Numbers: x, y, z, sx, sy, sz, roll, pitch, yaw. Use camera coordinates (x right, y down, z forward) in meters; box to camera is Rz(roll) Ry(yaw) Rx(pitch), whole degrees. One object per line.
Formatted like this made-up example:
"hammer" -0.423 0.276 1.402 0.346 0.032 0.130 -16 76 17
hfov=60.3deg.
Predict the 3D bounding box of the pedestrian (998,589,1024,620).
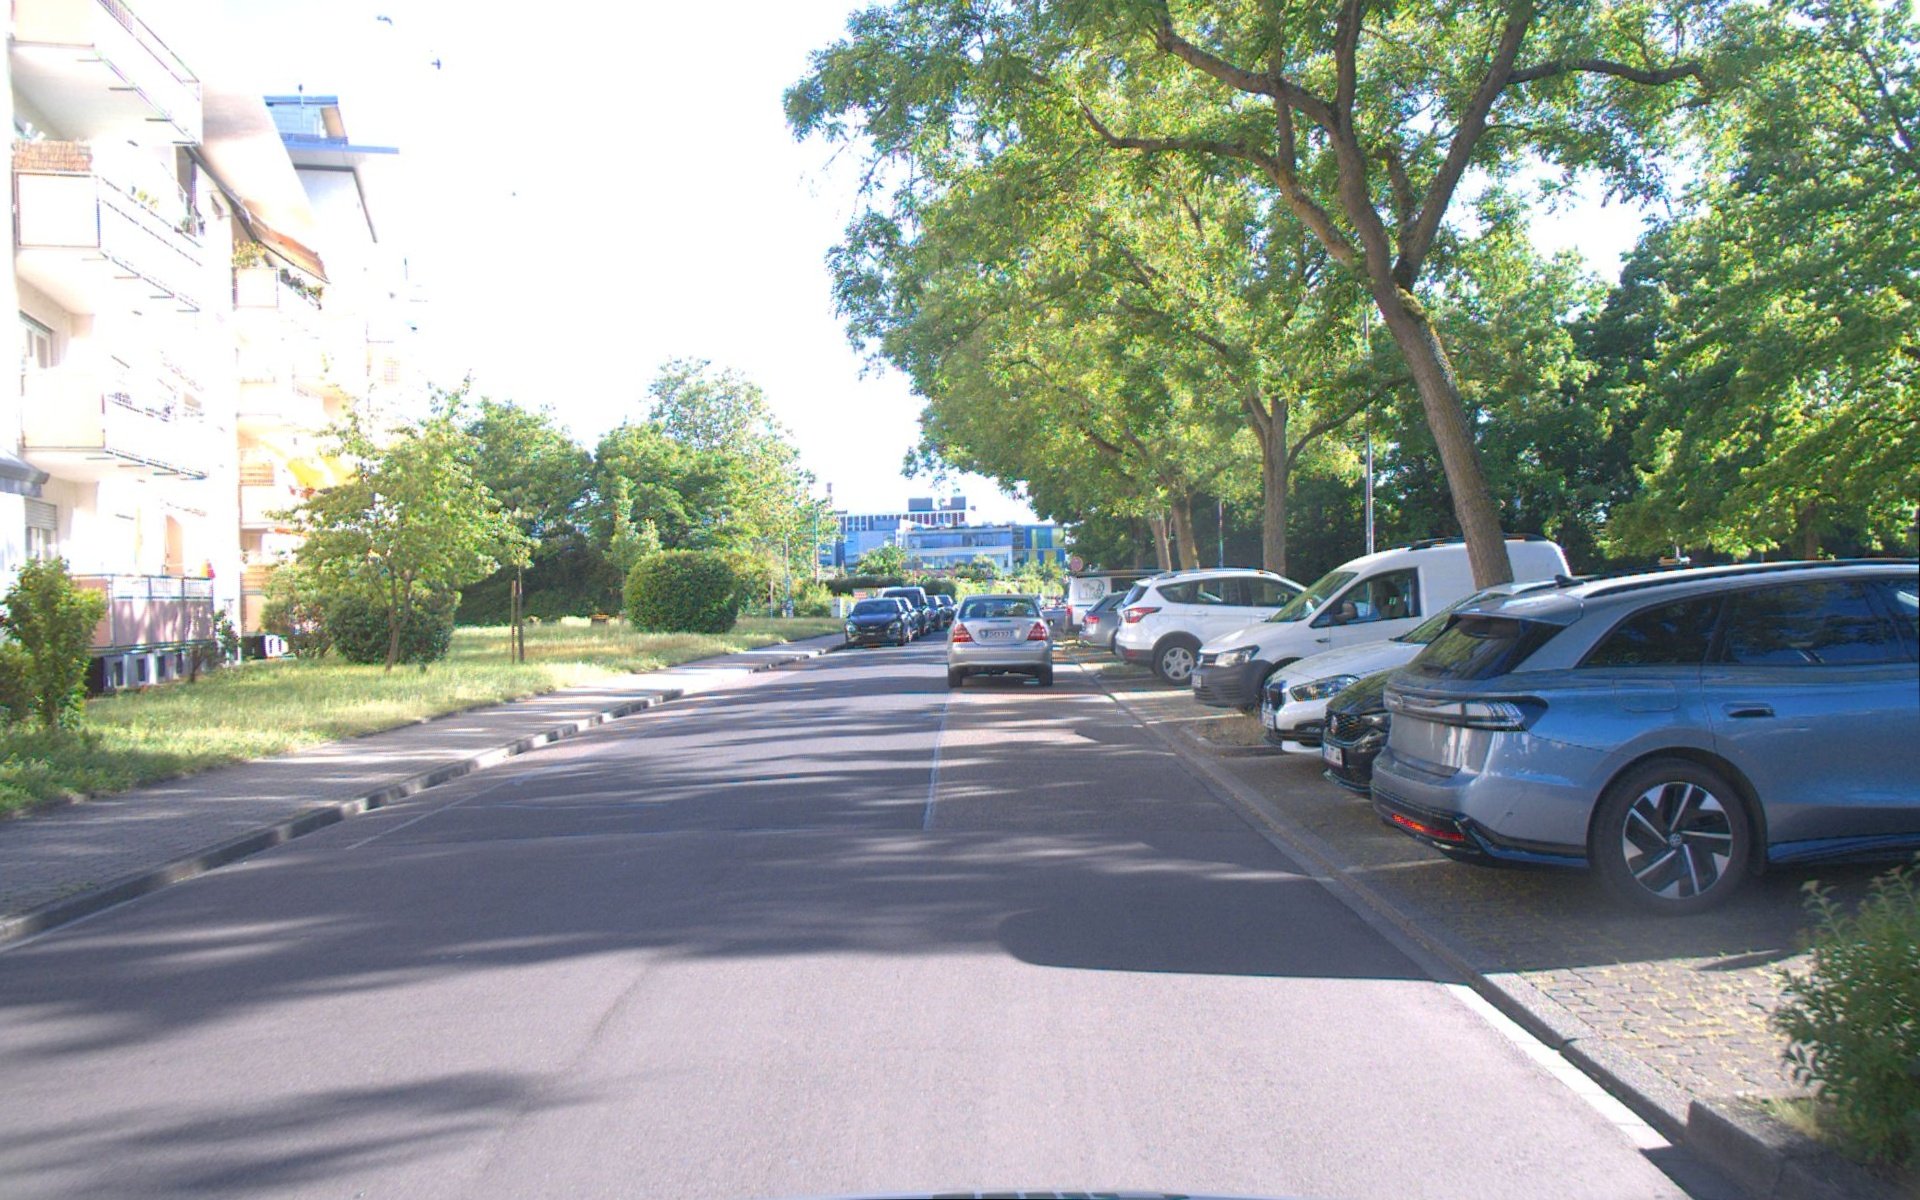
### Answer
"pedestrian" 3.539 0.307 114.740 1.540 2.125 1.725 -1 0 9

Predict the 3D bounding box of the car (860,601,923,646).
"car" -2.319 0.777 56.962 1.714 1.345 3.744 -4 0 3

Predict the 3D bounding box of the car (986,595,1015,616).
"car" 3.103 0.386 126.196 1.853 1.529 3.659 -2 0 7

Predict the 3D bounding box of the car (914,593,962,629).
"car" -0.981 0.483 76.155 1.713 1.547 4.196 -3 0 5

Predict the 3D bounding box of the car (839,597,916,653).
"car" -2.499 0.731 50.971 1.873 1.516 3.839 -4 0 4

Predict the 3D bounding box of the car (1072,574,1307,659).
"car" 4.966 0.348 36.244 4.786 1.656 1.999 -2 0 -2

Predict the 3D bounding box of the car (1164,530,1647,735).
"car" 4.895 0.325 18.557 4.791 1.957 1.997 -2 0 -6

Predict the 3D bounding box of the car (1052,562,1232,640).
"car" 5.284 0.031 48.651 5.108 2.095 2.001 -2 0 3

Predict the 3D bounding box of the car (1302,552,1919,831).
"car" 4.617 0.542 10.947 4.335 1.599 1.738 -2 0 1

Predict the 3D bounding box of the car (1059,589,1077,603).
"car" 12.571 -0.456 192.024 1.853 1.529 3.659 -2 0 7

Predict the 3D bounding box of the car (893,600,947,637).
"car" -1.658 0.756 69.603 1.713 1.353 3.453 -4 0 6

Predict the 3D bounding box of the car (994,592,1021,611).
"car" 3.867 0.108 134.458 1.853 1.529 3.659 -2 0 7

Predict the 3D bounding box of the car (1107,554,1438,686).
"car" 4.808 0.297 26.004 4.784 1.753 2.000 -3 0 1

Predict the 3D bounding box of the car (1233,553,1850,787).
"car" 4.651 0.527 13.717 4.355 1.543 1.999 -3 0 -2

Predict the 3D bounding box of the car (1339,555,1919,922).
"car" 4.536 0.572 8.466 4.686 1.576 2.011 -2 0 -2

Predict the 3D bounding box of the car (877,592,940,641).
"car" -1.917 0.599 63.033 1.713 1.718 4.267 -3 0 7

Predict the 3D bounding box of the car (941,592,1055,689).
"car" 0.675 0.648 26.804 1.696 1.459 3.439 -1 -1 4

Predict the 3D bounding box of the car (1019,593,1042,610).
"car" 6.494 0.120 152.052 1.853 1.529 3.659 -2 0 7
